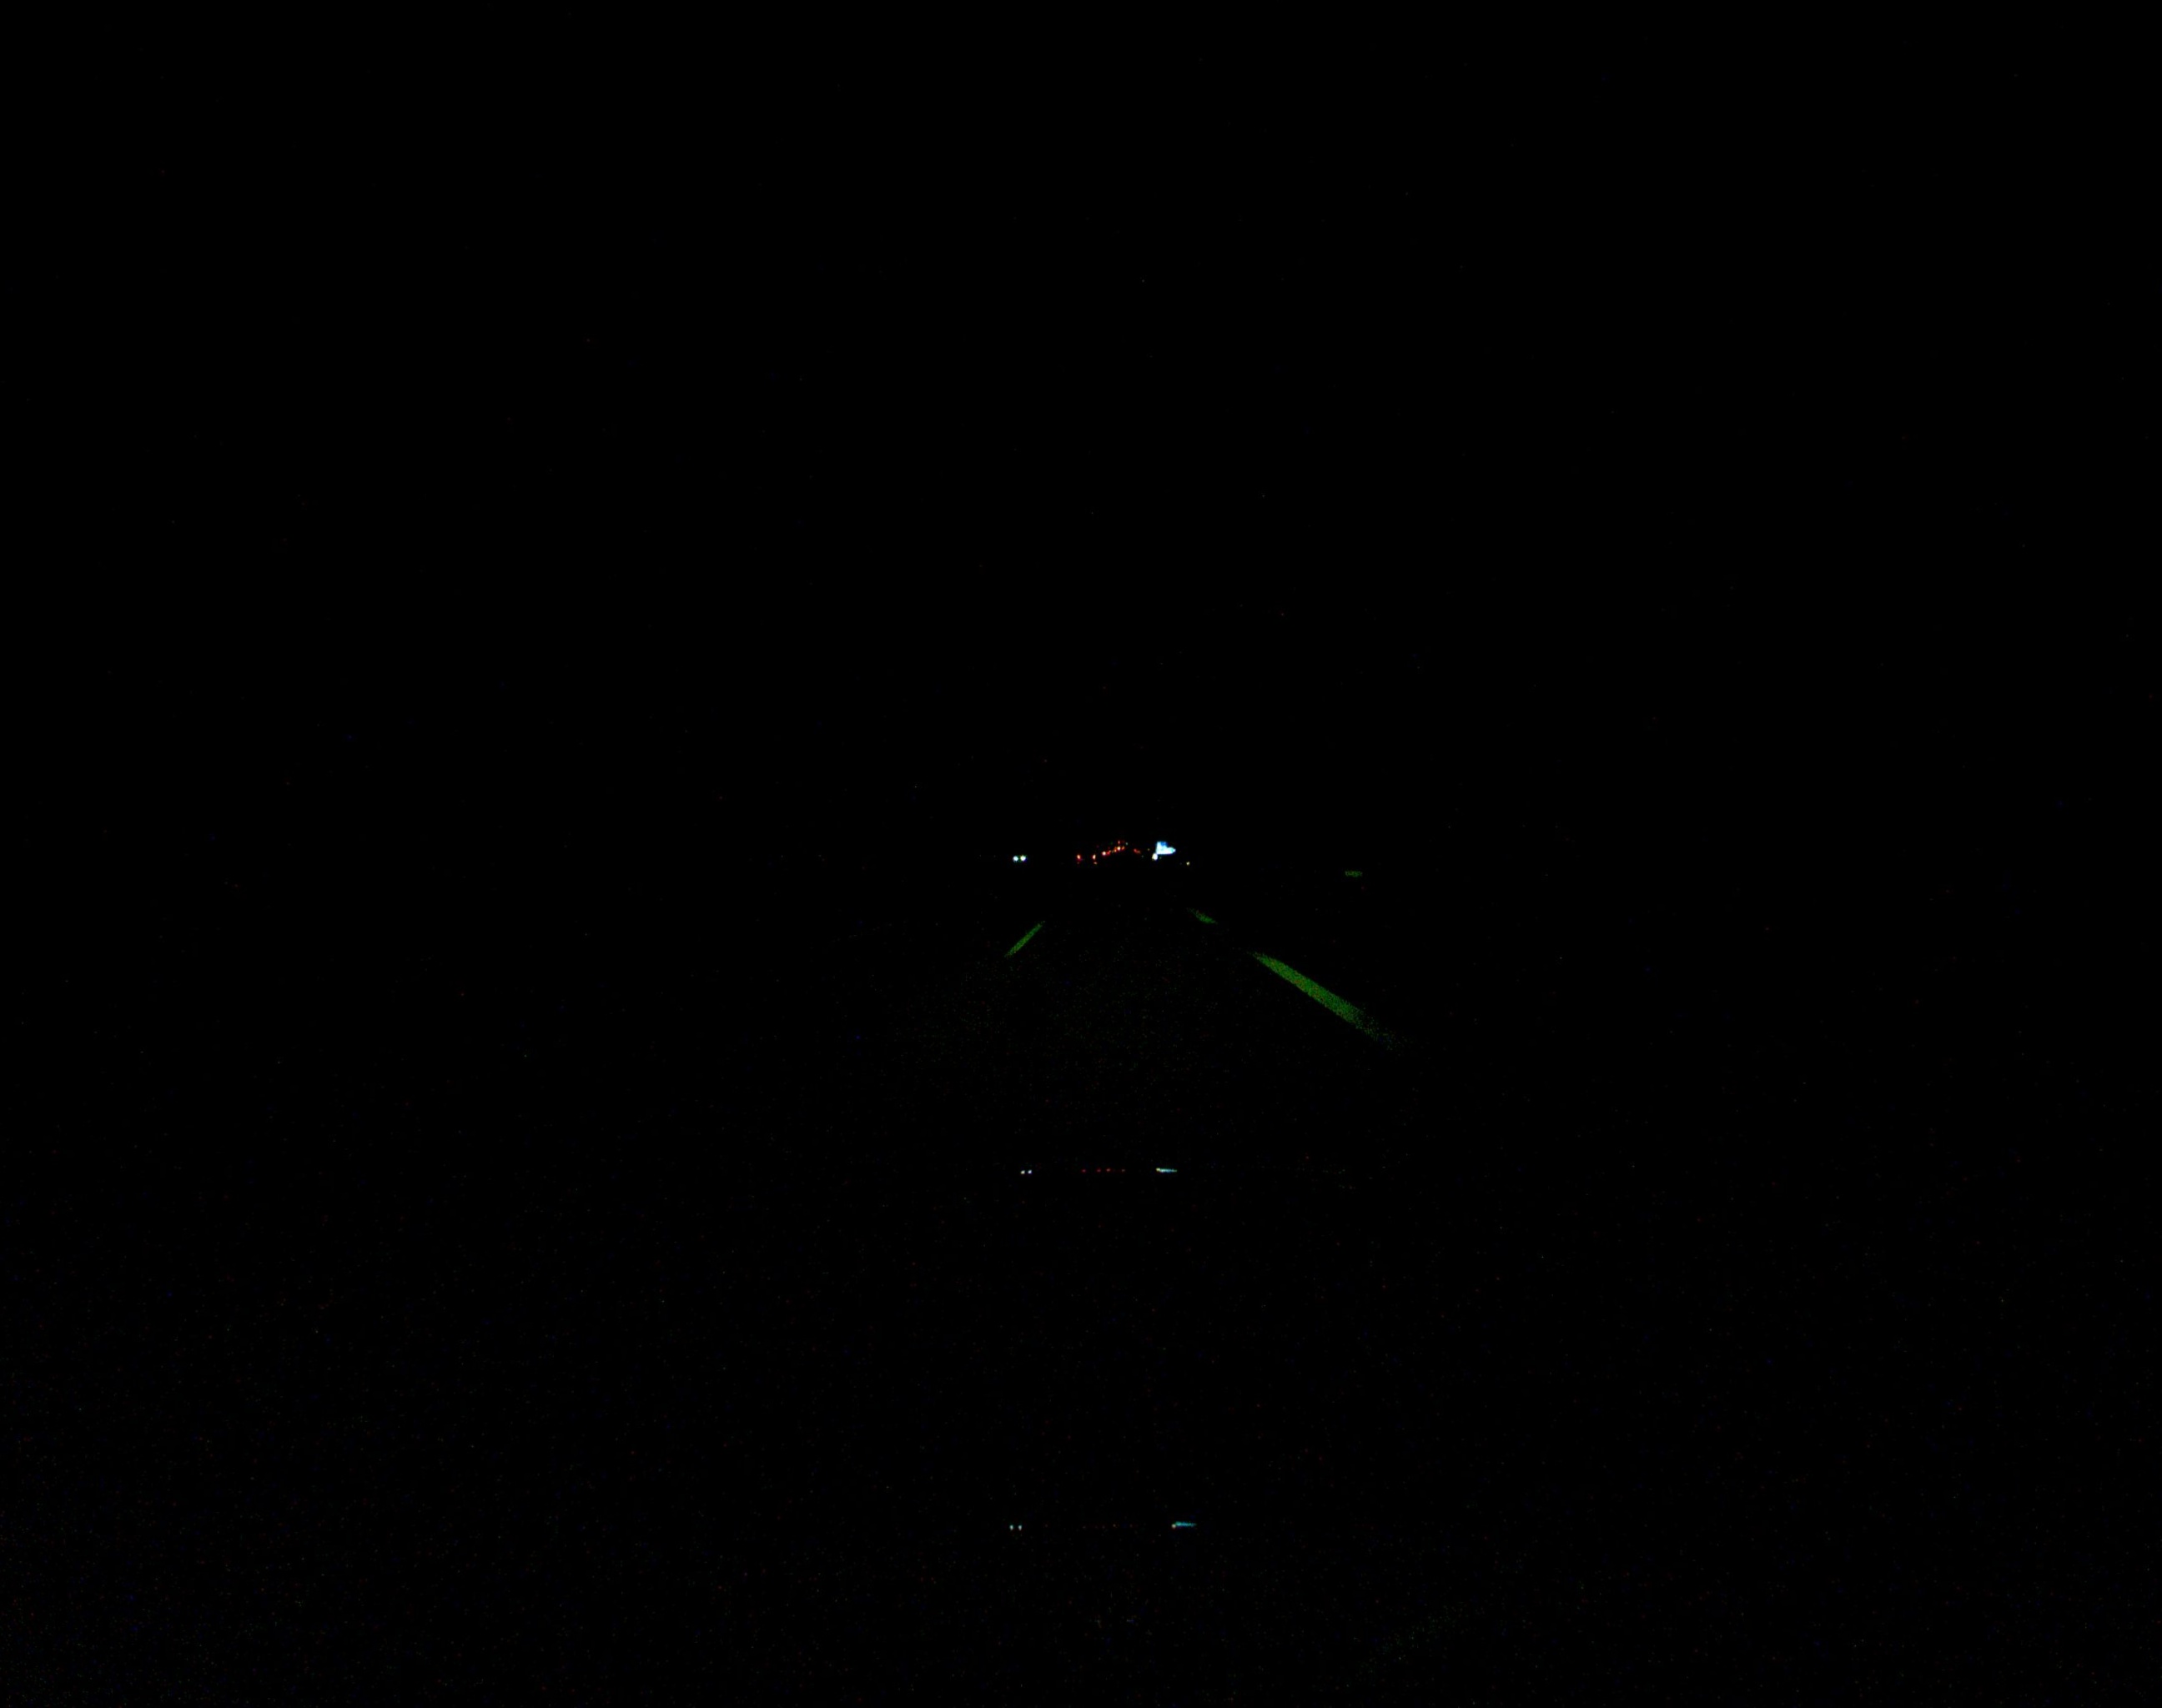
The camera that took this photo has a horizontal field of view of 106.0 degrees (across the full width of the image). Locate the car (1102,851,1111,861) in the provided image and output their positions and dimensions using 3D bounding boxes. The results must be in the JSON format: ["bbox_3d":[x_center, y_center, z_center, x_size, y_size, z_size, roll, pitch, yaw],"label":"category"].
[{"bbox_3d":[8.160,0.622,257.516,2.776,2.733,6.300,-2,-1,1],"label":"car"}]

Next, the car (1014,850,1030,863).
[{"bbox_3d":[-13.741,0.540,189.451,2.835,2.937,6.605,-1,0,2],"label":"car"}]

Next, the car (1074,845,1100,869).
[{"bbox_3d":[0.754,0.366,98.649,2.776,2.733,6.302,-2,-1,2],"label":"car"}]
